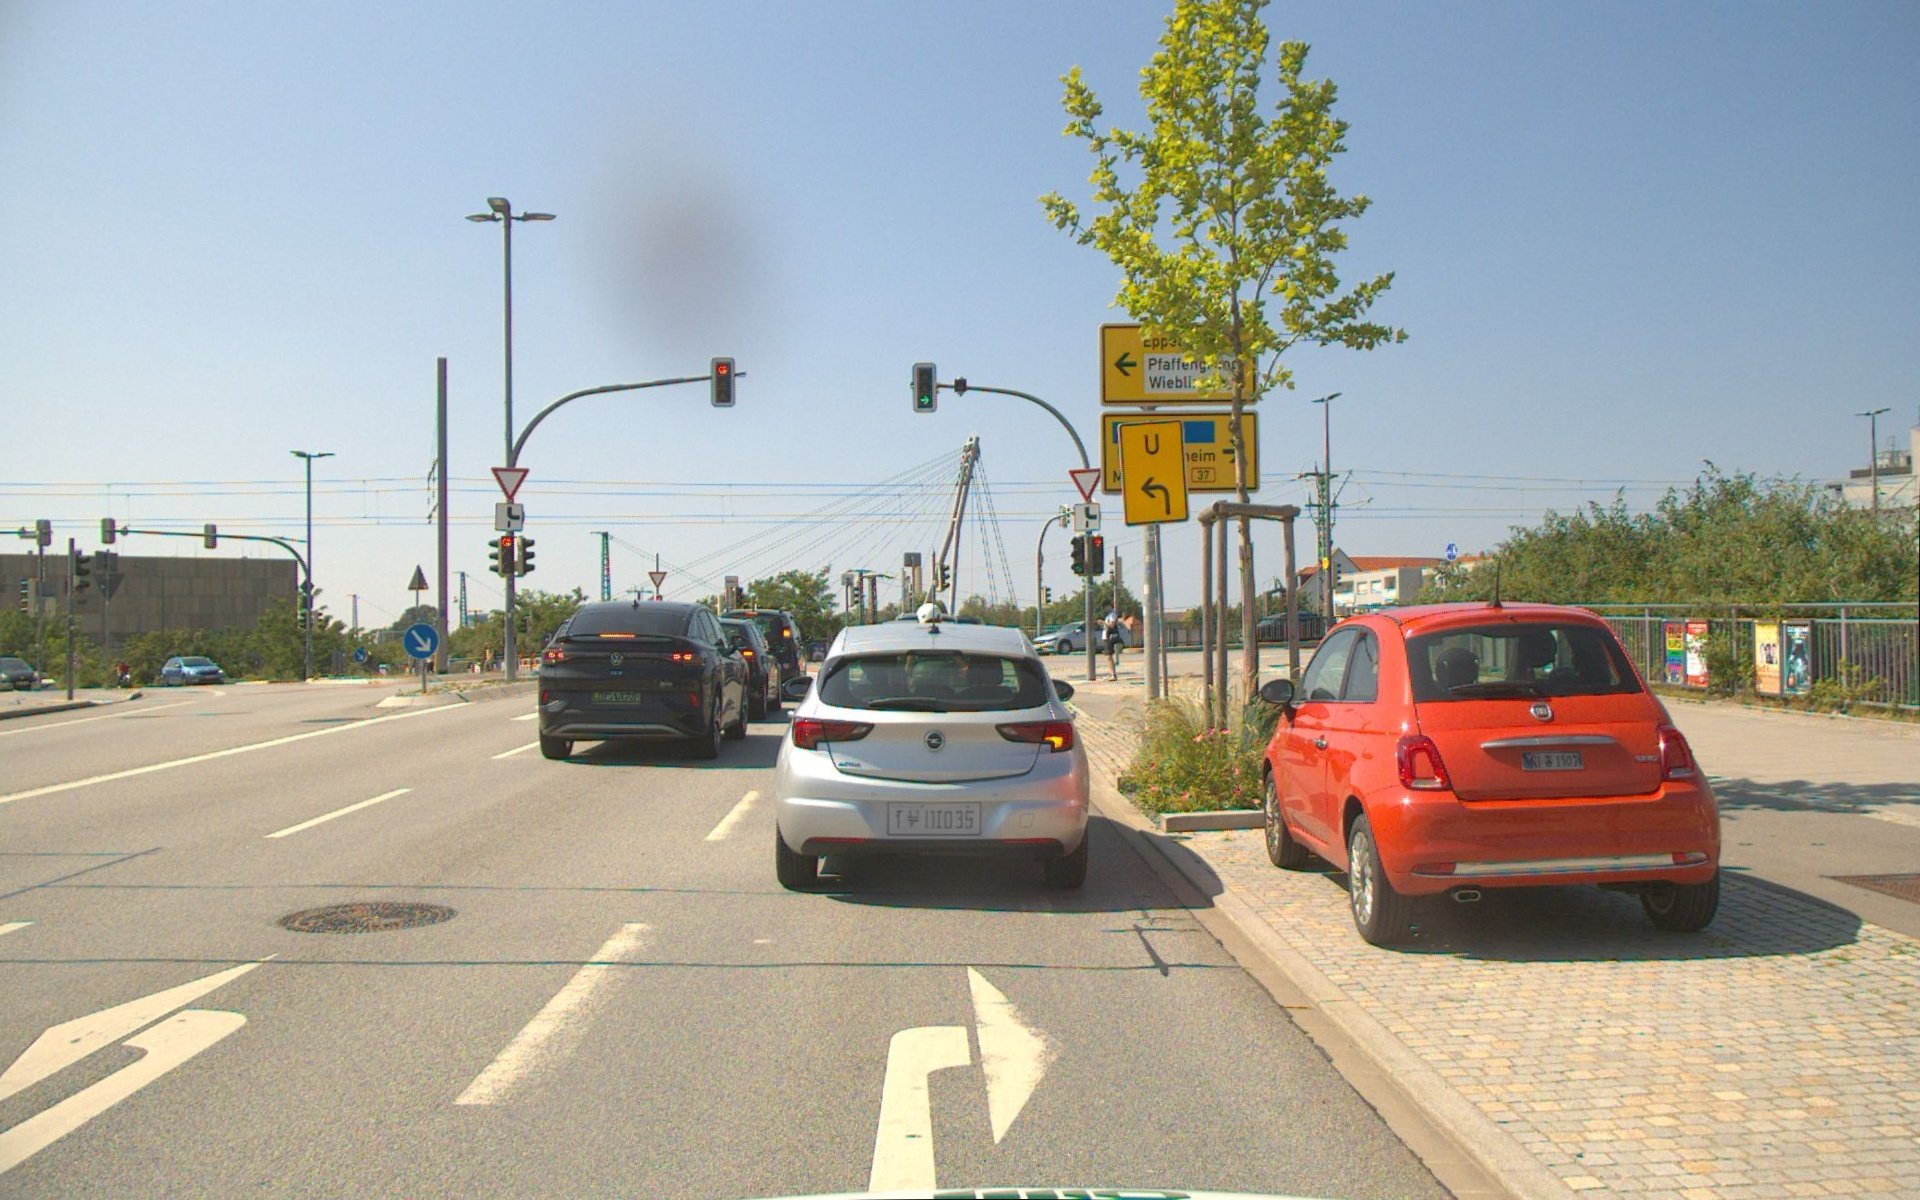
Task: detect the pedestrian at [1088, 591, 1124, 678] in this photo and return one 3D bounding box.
[{"bbox_3d":[3.207,0.754,36.327,0.634,1.868,0.797,-2,-1,-3],"label":"pedestrian"}]

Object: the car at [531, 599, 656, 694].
[{"bbox_3d":[-6.532,0.821,29.811,1.565,1.575,3.760,1,-1,-3],"label":"car"}]

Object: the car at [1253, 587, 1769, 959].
[{"bbox_3d":[2.644,0.747,8.727,1.577,1.523,3.352,-2,0,0],"label":"car"}]

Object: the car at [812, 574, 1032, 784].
[{"bbox_3d":[-0.368,0.710,17.043,1.953,1.852,4.401,1,0,-1],"label":"car"}]

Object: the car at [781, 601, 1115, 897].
[{"bbox_3d":[-0.164,0.809,10.537,1.708,1.504,3.997,1,-1,-3],"label":"car"}]

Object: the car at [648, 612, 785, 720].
[{"bbox_3d":[-3.534,0.942,24.579,1.543,1.459,3.784,1,-1,-2],"label":"car"}]

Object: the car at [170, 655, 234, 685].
[{"bbox_3d":[-35.964,3.320,78.442,1.806,1.354,3.941,2,-3,-40],"label":"car"}]

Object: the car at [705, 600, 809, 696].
[{"bbox_3d":[-3.702,0.876,30.698,1.616,1.644,3.817,1,-1,-3],"label":"car"}]

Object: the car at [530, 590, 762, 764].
[{"bbox_3d":[-3.327,0.755,18.317,1.765,1.670,4.365,1,0,-1],"label":"car"}]

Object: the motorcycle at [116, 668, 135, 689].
[{"bbox_3d":[-42.022,3.961,83.295,0.515,0.972,1.908,2,-1,-37],"label":"motorcycle"}]

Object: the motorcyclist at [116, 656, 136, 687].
[{"bbox_3d":[-42.054,3.609,83.397,0.746,1.520,0.668,2,-2,-38],"label":"motorcyclist"}]

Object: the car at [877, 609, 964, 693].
[{"bbox_3d":[-0.796,1.013,34.504,1.689,1.591,3.999,1,0,-1],"label":"car"}]

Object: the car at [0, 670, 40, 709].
[{"bbox_3d":[-41.211,3.861,71.852,1.662,1.502,3.358,0,0,-39],"label":"car"}]
